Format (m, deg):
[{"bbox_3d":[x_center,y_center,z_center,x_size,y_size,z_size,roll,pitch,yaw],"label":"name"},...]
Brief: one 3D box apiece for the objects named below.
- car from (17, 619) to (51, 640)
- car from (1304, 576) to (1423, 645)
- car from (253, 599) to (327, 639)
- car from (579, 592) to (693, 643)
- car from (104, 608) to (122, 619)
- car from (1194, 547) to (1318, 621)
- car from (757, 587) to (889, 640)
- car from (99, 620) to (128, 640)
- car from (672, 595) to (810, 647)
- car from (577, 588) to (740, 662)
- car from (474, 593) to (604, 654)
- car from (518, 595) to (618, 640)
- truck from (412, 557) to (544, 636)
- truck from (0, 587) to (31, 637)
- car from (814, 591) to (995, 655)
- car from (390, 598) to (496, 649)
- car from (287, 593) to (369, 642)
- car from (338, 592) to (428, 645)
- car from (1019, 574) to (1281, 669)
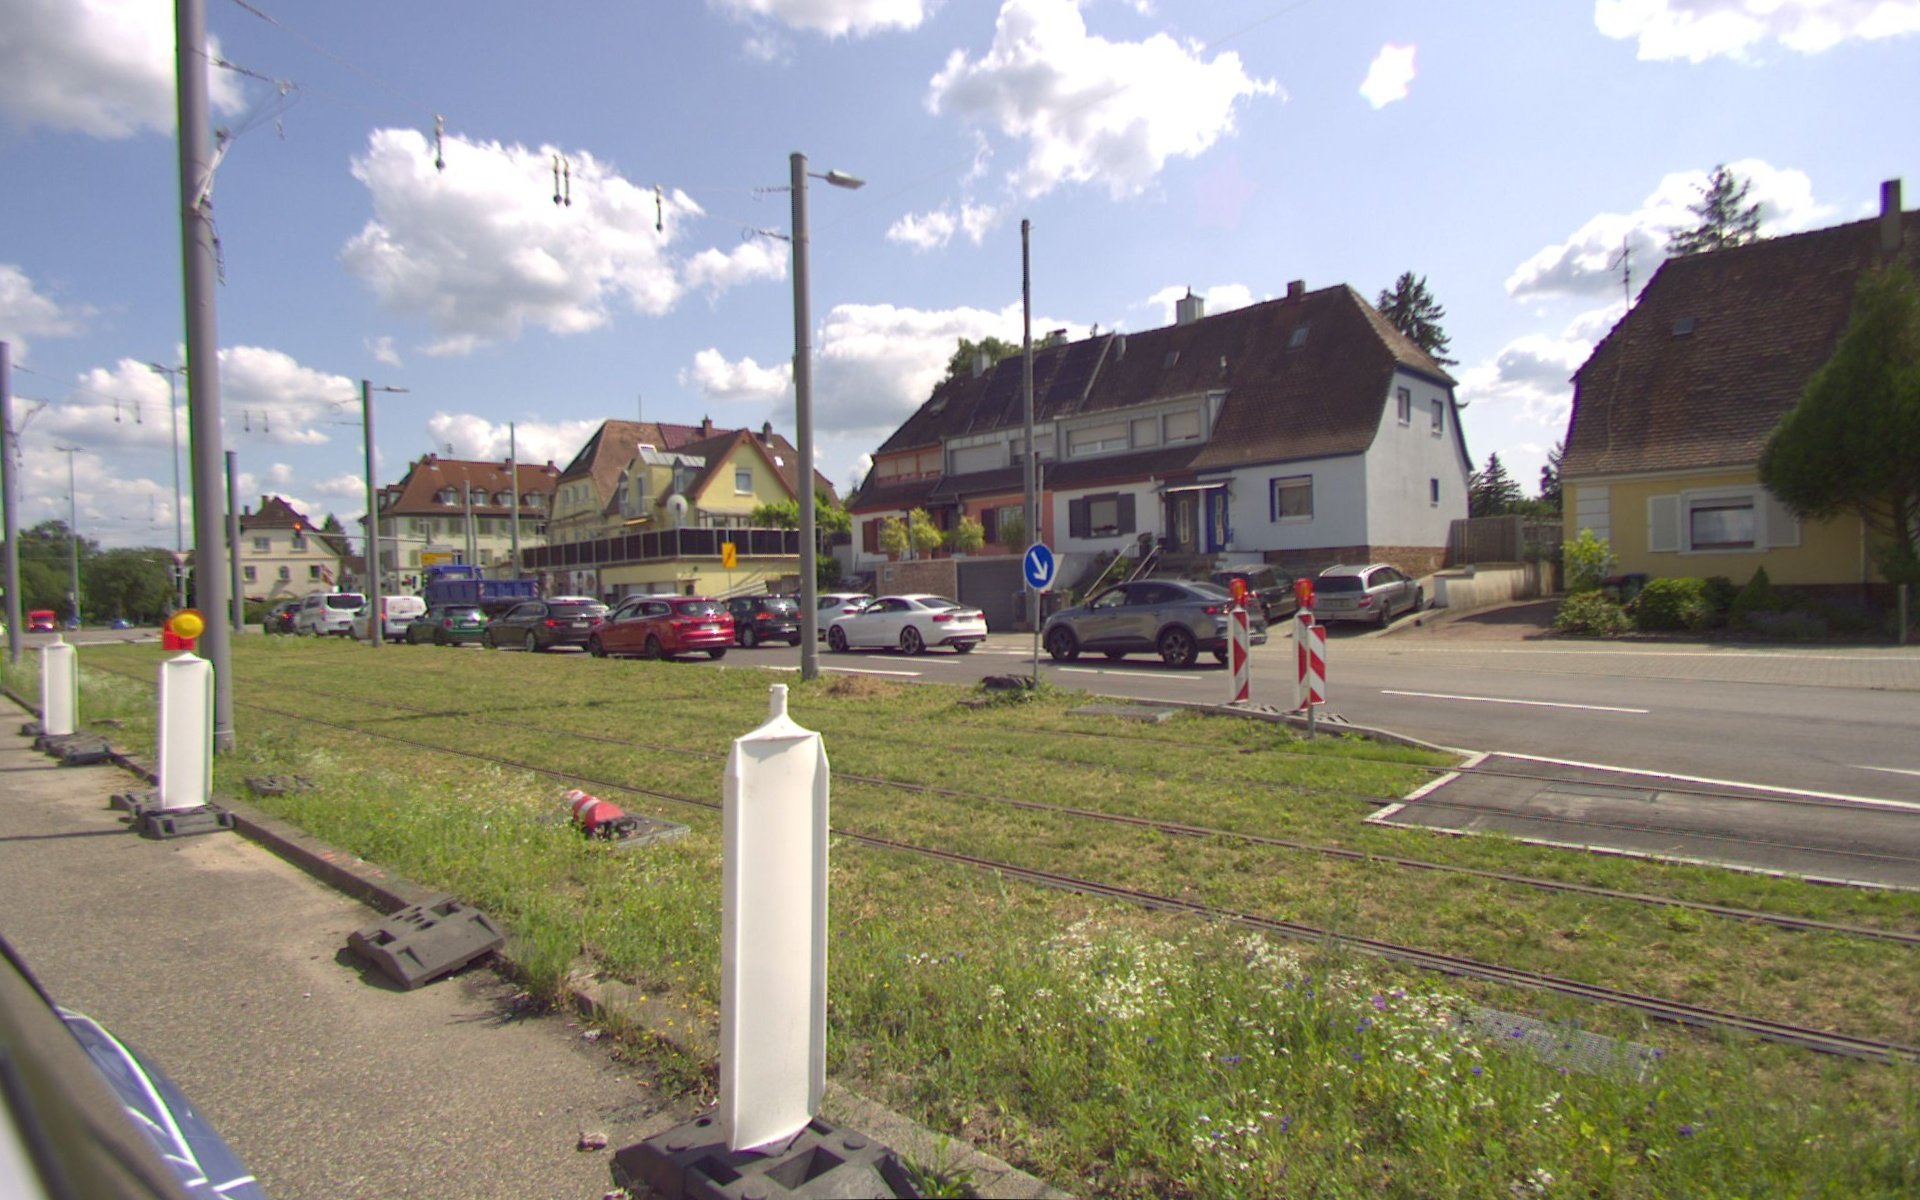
[{"bbox_3d":[-92.224,2.889,100.797,2.251,1.886,4.993,-2,1,-40],"label":"car"},{"bbox_3d":[10.162,0.221,25.349,1.680,1.567,3.839,-1,1,39],"label":"car"},{"bbox_3d":[-32.182,0.905,48.557,4.542,1.794,1.897,-1,1,43],"label":"car"},{"bbox_3d":[-10.980,0.590,34.154,4.543,1.574,1.706,-1,1,44],"label":"car"},{"bbox_3d":[-125.429,1.958,149.878,1.698,1.603,4.175,-2,1,-44],"label":"car"},{"bbox_3d":[8.105,-0.443,27.511,1.801,1.859,3.947,-1,1,39],"label":"car"},{"bbox_3d":[-4.452,0.424,32.418,4.543,1.574,1.706,-1,1,44],"label":"car"},{"bbox_3d":[-91.448,3.218,109.375,2.250,1.886,4.994,-2,1,-39],"label":"car"},{"bbox_3d":[-6.338,0.589,29.000,1.705,1.344,4.545,-2,1,-44],"label":"car"},{"bbox_3d":[-7.307,0.575,24.245,4.543,1.574,1.706,-1,1,44],"label":"car"},{"bbox_3d":[-12.185,0.662,29.135,4.645,1.574,1.706,-1,1,44],"label":"car"},{"bbox_3d":[-14.936,0.646,38.396,4.542,1.574,1.707,-1,1,43],"label":"car"},{"bbox_3d":[-21.278,-0.117,44.424,2.803,3.177,7.939,-2,1,-44],"label":"truck"},{"bbox_3d":[-105.468,1.359,112.121,3.426,5.222,14.234,-2,1,-42],"label":"truck"},{"bbox_3d":[-1.402,0.519,23.924,1.705,1.344,4.545,-2,1,-44],"label":"car"},{"bbox_3d":[-17.419,0.769,34.018,4.542,1.574,1.707,-1,1,43],"label":"car"},{"bbox_3d":[-27.491,0.746,43.962,4.542,1.979,1.897,-1,1,43],"label":"car"},{"bbox_3d":[-22.134,0.695,38.759,4.542,1.868,1.707,-1,1,43],"label":"car"},{"bbox_3d":[3.400,0.358,18.974,1.704,1.538,4.777,-2,1,-41],"label":"car"}]
